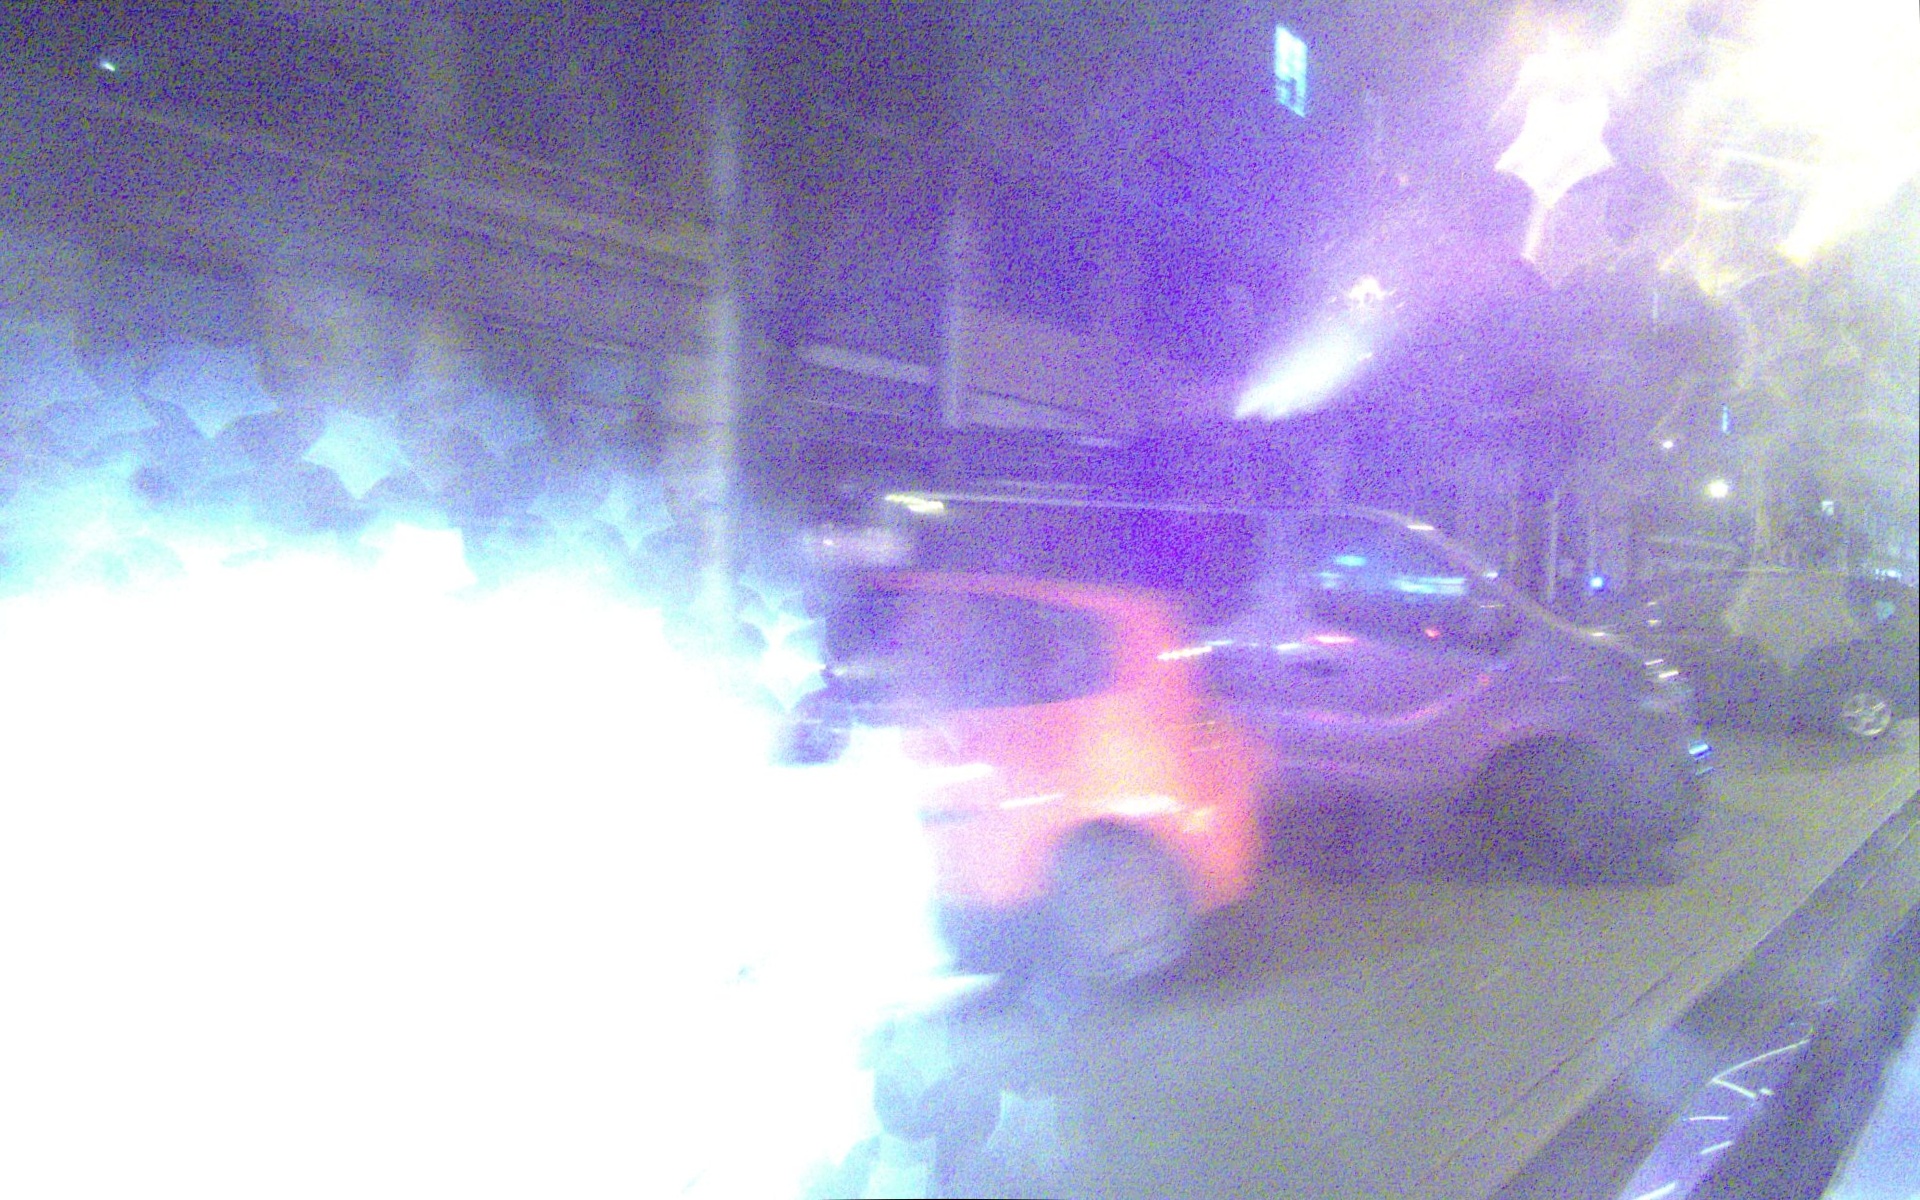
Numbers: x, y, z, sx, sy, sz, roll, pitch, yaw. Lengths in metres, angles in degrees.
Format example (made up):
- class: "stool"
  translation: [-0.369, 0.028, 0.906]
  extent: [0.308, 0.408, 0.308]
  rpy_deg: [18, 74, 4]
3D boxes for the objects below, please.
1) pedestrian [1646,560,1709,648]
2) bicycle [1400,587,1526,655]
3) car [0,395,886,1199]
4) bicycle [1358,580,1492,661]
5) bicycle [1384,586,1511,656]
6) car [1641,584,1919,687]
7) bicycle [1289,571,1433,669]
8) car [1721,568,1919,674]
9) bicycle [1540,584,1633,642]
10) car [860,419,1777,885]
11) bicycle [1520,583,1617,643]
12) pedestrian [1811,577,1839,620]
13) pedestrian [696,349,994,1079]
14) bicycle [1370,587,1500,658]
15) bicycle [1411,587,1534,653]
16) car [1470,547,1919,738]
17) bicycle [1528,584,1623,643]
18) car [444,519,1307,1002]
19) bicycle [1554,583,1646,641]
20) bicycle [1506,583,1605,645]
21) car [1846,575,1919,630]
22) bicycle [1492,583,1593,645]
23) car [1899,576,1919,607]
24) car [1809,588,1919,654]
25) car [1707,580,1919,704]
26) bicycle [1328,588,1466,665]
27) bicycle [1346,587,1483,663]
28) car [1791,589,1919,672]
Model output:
- class: "pedestrian"
  translation: [16.065, 0.075, 22.657]
  extent: [0.932, 1.856, 0.840]
  rpy_deg: [-1, 7, -44]
- class: "bicycle"
  translation: [9.243, 0.351, 18.667]
  extent: [1.972, 1.067, 0.502]
  rpy_deg: [6, 4, 43]
- class: "car"
  translation: [-2.151, 0.468, 2.492]
  extent: [3.608, 1.561, 1.550]
  rpy_deg: [2, 2, 20]
- class: "bicycle"
  translation: [7.942, 0.313, 17.350]
  extent: [1.972, 1.205, 0.502]
  rpy_deg: [6, 4, 43]
- class: "bicycle"
  translation: [8.795, 0.353, 18.319]
  extent: [1.972, 1.067, 0.502]
  rpy_deg: [6, 4, 43]
- class: "car"
  translation: [14.401, 0.557, 17.494]
  extent: [4.012, 1.631, 1.832]
  rpy_deg: [1, 0, 21]
- class: "bicycle"
  translation: [6.314, 0.273, 16.058]
  extent: [0.767, 1.351, 1.980]
  rpy_deg: [1, 4, -34]
- class: "car"
  translation: [17.127, 0.398, 19.035]
  extent: [4.060, 1.786, 1.845]
  rpy_deg: [3, 1, 23]
- class: "bicycle"
  translation: [14.147, 0.272, 22.888]
  extent: [1.685, 1.160, 0.422]
  rpy_deg: [6, 3, 42]
- class: "car"
  translation: [1.896, 0.151, 6.449]
  extent: [4.656, 2.275, 1.939]
  rpy_deg: [2, 2, 14]
- class: "bicycle"
  translation: [13.325, 0.276, 22.188]
  extent: [1.685, 1.160, 0.533]
  rpy_deg: [6, 3, 42]
- class: "pedestrian"
  translation: [38.796, -0.052, 45.394]
  extent: [0.828, 1.864, 0.747]
  rpy_deg: [3, 1, -42]
- class: "pedestrian"
  translation: [-0.339, 0.301, 3.243]
  extent: [0.635, 2.038, 0.673]
  rpy_deg: [3, 1, 19]
- class: "bicycle"
  translation: [8.352, 0.365, 17.862]
  extent: [1.972, 1.067, 0.502]
  rpy_deg: [6, 4, 43]
- class: "bicycle"
  translation: [9.719, 0.347, 19.247]
  extent: [1.972, 1.067, 0.502]
  rpy_deg: [6, 4, 43]
- class: "car"
  translation: [8.656, 0.401, 12.085]
  extent: [4.186, 1.881, 1.710]
  rpy_deg: [3, 3, 15]
- class: "bicycle"
  translation: [13.716, 0.274, 22.585]
  extent: [1.685, 1.160, 0.478]
  rpy_deg: [6, 3, 42]
- class: "car"
  translation: [-0.321, 0.480, 4.533]
  extent: [3.350, 1.561, 1.571]
  rpy_deg: [2, 2, 14]
- class: "bicycle"
  translation: [14.641, 0.259, 23.179]
  extent: [1.685, 1.160, 0.422]
  rpy_deg: [6, 3, 42]
- class: "bicycle"
  translation: [12.801, 0.279, 21.770]
  extent: [1.685, 1.160, 0.588]
  rpy_deg: [6, 3, 42]
- class: "car"
  translation: [43.290, 0.132, 45.293]
  extent: [4.872, 2.370, 2.221]
  rpy_deg: [2, 1, 16]
- class: "bicycle"
  translation: [12.258, 0.272, 21.315]
  extent: [1.685, 1.160, 0.655]
  rpy_deg: [6, 3, 42]
- class: "car"
  translation: [55.896, -0.358, 57.055]
  extent: [3.754, 1.710, 1.826]
  rpy_deg: [4, 2, 18]
- class: "car"
  translation: [24.666, 0.574, 26.237]
  extent: [3.674, 1.541, 1.643]
  rpy_deg: [3, 3, 25]
- class: "car"
  translation: [13.841, 0.602, 15.254]
  extent: [3.755, 1.750, 1.731]
  rpy_deg: [1, 0, 19]
- class: "bicycle"
  translation: [7.097, 0.404, 16.510]
  extent: [1.972, 1.067, 0.502]
  rpy_deg: [6, 4, 43]
- class: "bicycle"
  translation: [7.534, 0.388, 16.846]
  extent: [1.972, 1.067, 0.502]
  rpy_deg: [6, 4, 43]
- class: "car"
  translation: [19.441, 0.612, 20.664]
  extent: [3.532, 1.631, 1.696]
  rpy_deg: [1, 0, 28]
